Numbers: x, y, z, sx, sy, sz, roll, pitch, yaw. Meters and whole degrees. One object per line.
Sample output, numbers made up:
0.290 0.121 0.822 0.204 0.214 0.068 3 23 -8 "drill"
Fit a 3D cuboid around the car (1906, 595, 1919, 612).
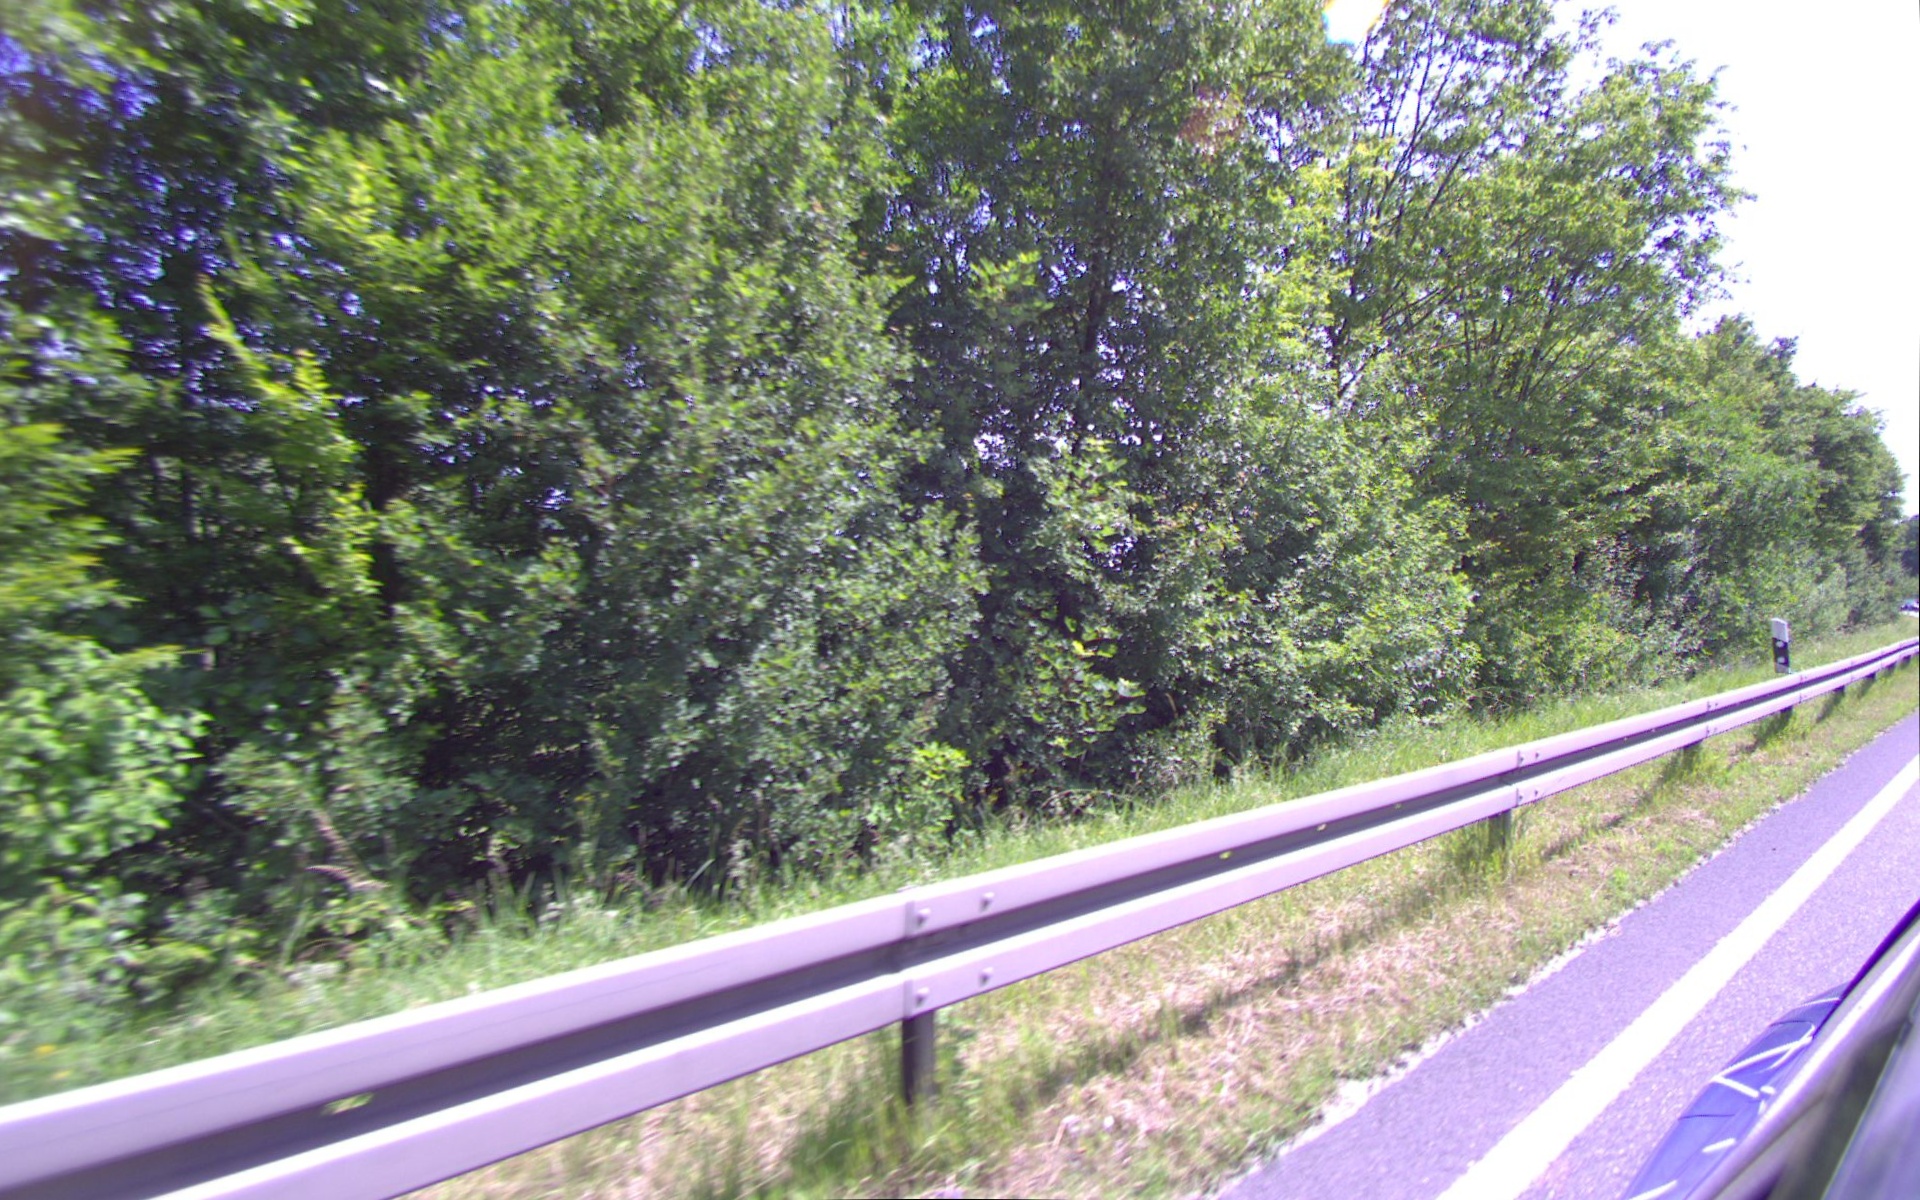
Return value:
116.398 0.404 122.774 1.990 2.039 3.943 -1 -1 39 "car"
